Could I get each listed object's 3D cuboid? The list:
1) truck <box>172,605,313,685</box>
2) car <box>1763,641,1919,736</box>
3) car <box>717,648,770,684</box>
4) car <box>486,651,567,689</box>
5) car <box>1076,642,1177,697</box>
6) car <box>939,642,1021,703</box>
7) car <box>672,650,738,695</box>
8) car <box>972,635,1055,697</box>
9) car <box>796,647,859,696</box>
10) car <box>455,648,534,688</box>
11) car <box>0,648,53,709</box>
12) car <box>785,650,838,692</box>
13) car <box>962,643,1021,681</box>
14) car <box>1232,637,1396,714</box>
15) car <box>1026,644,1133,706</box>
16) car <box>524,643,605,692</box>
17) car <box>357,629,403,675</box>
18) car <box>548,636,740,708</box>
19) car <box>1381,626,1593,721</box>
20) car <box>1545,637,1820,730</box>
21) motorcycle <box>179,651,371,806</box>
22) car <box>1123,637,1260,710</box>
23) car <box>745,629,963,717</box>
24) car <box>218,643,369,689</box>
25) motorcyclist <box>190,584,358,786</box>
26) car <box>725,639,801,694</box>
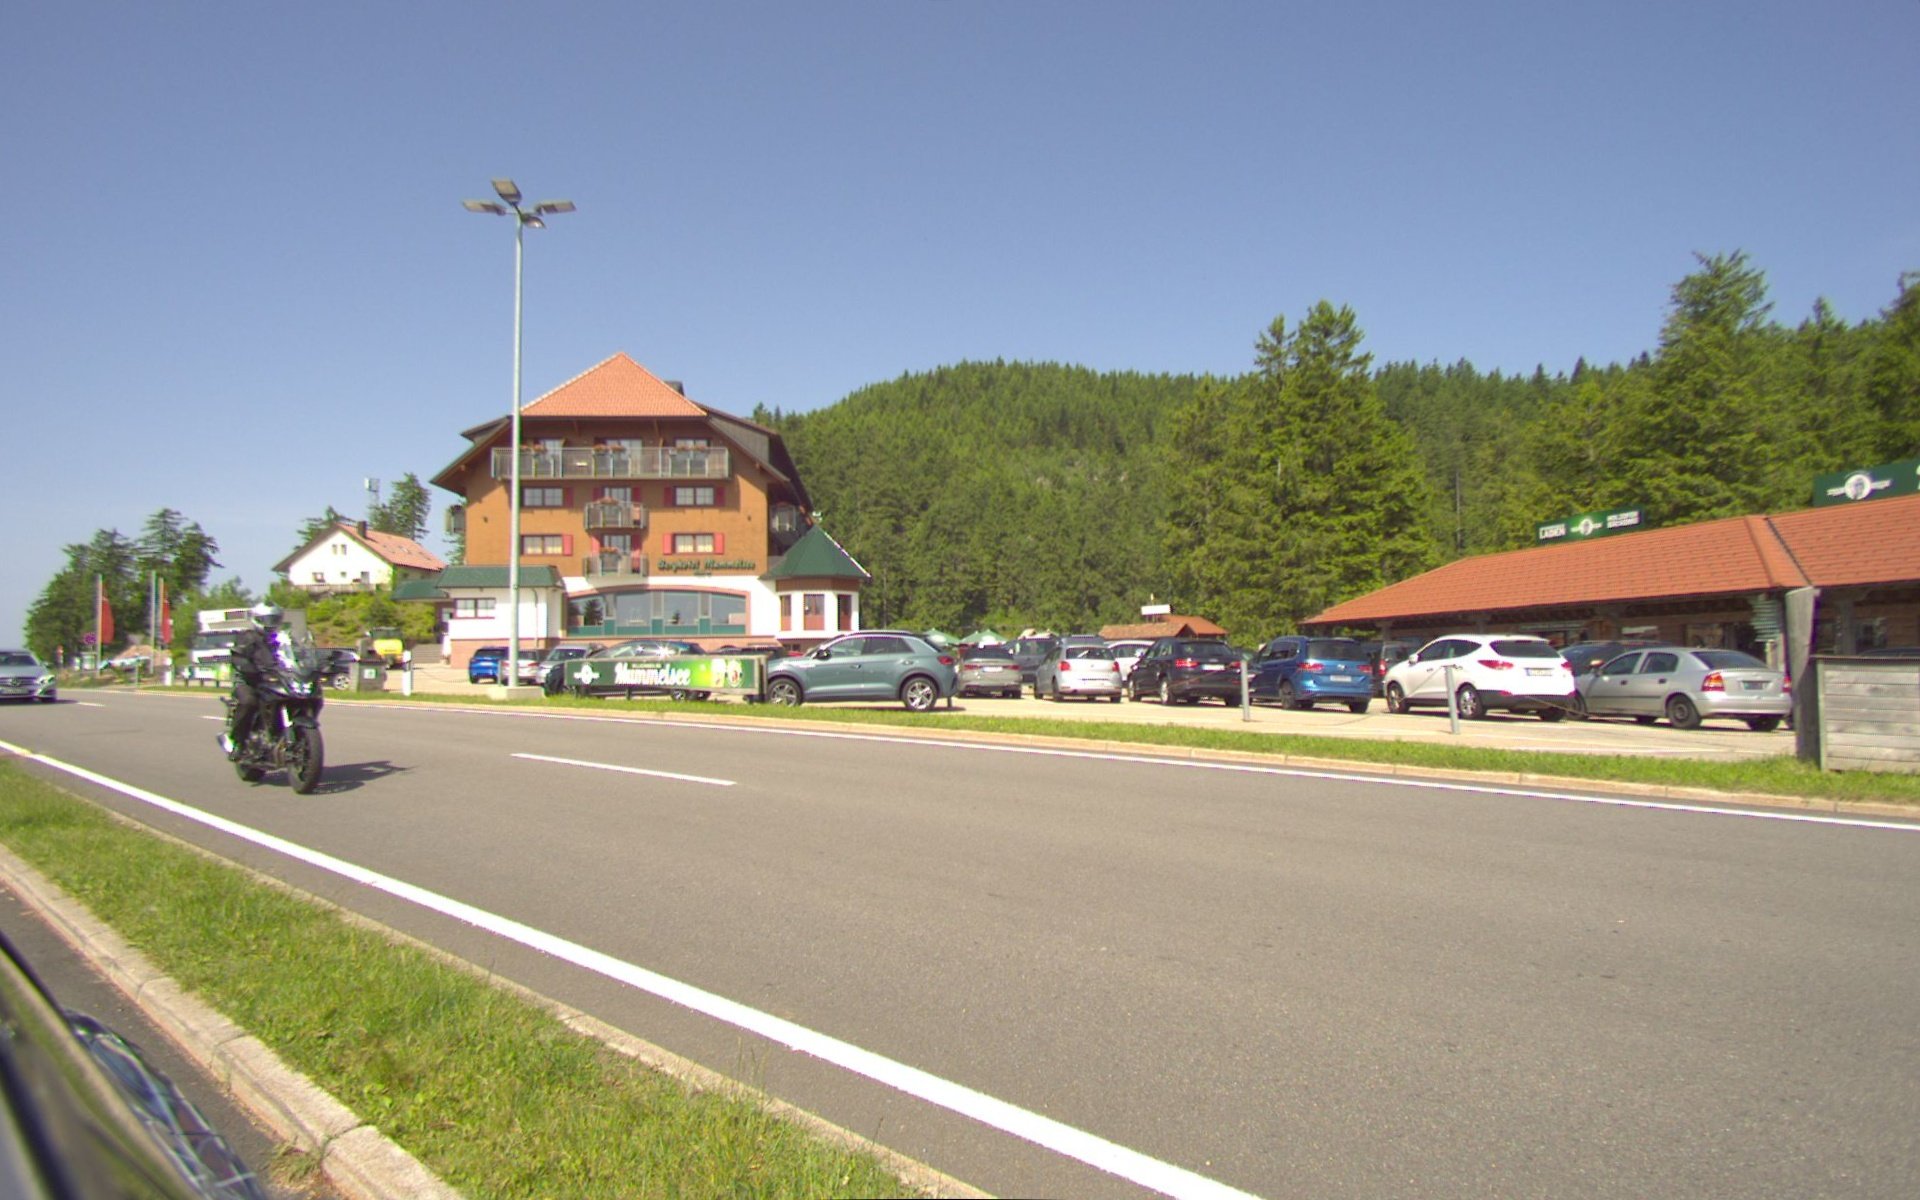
[{"bbox_3d":[-40.045,2.441,56.928,3.020,4.002,8.791,-3,-1,-11],"label":"truck"},{"bbox_3d":[15.226,1.403,15.970,1.659,1.430,4.003,1,-4,-5],"label":"car"},{"bbox_3d":[-9.009,2.790,42.349,1.904,1.429,4.006,0,-4,-8],"label":"car"},{"bbox_3d":[-18.576,3.027,43.566,1.970,1.558,4.003,-1,-4,-4],"label":"car"},{"bbox_3d":[5.084,2.173,31.474,1.968,1.586,4.006,0,-4,-8],"label":"car"},{"bbox_3d":[0.483,2.028,28.370,1.871,1.557,4.003,0,-4,-4],"label":"car"},{"bbox_3d":[-9.004,2.591,36.033,1.690,1.497,4.084,0,-4,-6],"label":"car"},{"bbox_3d":[1.678,2.177,33.263,1.968,1.918,4.006,0,-4,-8],"label":"car"},{"bbox_3d":[-4.030,2.218,31.250,1.784,1.381,4.004,0,-4,-6],"label":"car"},{"bbox_3d":[-20.985,3.048,45.837,1.910,1.676,4.551,0,-3,-6],"label":"car"},{"bbox_3d":[-24.697,2.021,25.770,3.996,1.468,1.758,-4,-6,39],"label":"car"},{"bbox_3d":[-5.868,2.827,39.980,1.968,1.564,4.006,0,-4,-8],"label":"car"},{"bbox_3d":[1.318,2.727,43.797,1.880,1.542,3.887,0,-4,-8],"label":"car"},{"bbox_3d":[7.892,1.719,23.044,1.969,1.586,4.004,0,-4,-5],"label":"car"},{"bbox_3d":[2.934,1.906,25.778,1.878,1.431,4.004,0,-4,-5],"label":"car"},{"bbox_3d":[-16.277,2.819,41.920,1.808,1.878,4.533,-1,-4,-3],"label":"car"},{"bbox_3d":[-33.358,3.047,58.159,1.966,2.515,4.010,2,-5,-34],"label":"car"},{"bbox_3d":[-7.322,1.687,23.701,3.945,1.564,1.782,-1,-4,1],"label":"car"},{"bbox_3d":[10.342,1.477,20.267,1.749,1.685,4.036,1,-4,-6],"label":"car"},{"bbox_3d":[12.867,1.510,18.397,1.749,1.479,4.031,1,-4,-6],"label":"car"},{"bbox_3d":[-6.495,1.130,9.540,2.274,1.266,0.868,-2,-2,39],"label":"motorcycle"},{"bbox_3d":[5.386,1.745,24.074,1.969,1.586,4.004,0,-4,-5],"label":"car"},{"bbox_3d":[-2.025,1.386,19.558,3.998,1.579,1.742,-1,-3,-4],"label":"car"},{"bbox_3d":[-23.698,2.355,36.114,4.128,1.552,1.809,0,-4,-5],"label":"car"},{"bbox_3d":[-6.443,0.748,9.492,1.450,1.731,0.914,-2,-2,38],"label":"motorcyclist"},{"bbox_3d":[-6.536,2.240,33.981,1.800,1.717,3.999,-1,-4,-1],"label":"car"}]
